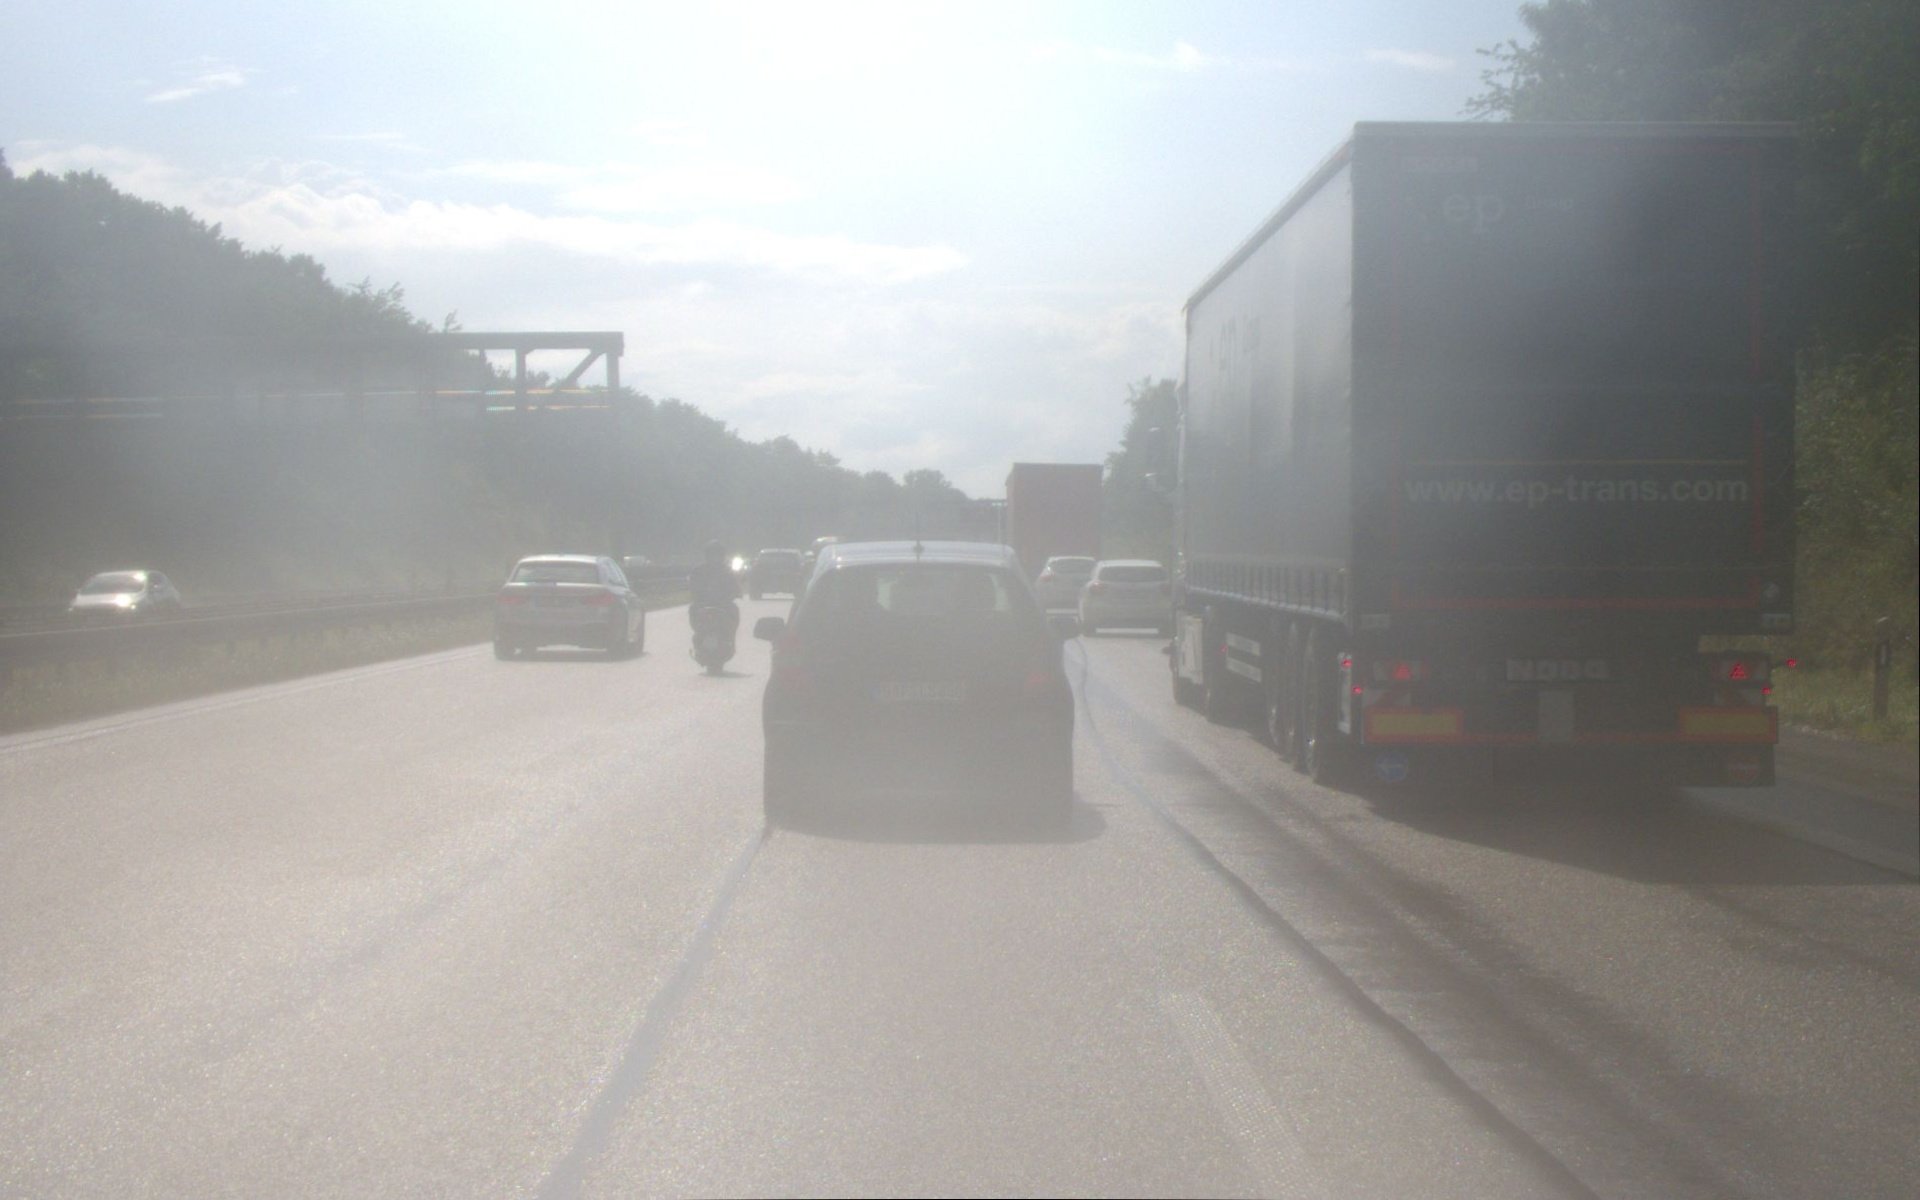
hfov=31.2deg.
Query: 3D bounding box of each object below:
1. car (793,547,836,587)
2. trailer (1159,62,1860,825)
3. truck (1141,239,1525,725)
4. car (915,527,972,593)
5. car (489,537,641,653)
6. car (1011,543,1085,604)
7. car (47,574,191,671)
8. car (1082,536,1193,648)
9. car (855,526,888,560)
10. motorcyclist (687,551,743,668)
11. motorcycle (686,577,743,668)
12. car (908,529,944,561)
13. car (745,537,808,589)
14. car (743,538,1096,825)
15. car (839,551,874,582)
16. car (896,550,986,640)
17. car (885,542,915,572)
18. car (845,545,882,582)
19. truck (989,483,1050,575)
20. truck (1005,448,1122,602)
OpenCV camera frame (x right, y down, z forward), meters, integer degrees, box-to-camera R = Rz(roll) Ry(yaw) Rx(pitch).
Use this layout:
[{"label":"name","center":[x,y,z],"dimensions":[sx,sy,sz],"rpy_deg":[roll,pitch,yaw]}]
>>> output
[{"label":"car","center":[-5.957,-1.372,141.288],"dimensions":[1.675,1.591,3.437],"rpy_deg":[0,1,-1]},{"label":"trailer","center":[3.517,-0.991,26.503],"dimensions":[3.088,4.298,14.105],"rpy_deg":[0,1,0]},{"label":"truck","center":[3.490,-1.096,33.659],"dimensions":[3.052,4.310,5.886],"rpy_deg":[1,1,0]},{"label":"car","center":[-0.517,-1.209,103.789],"dimensions":[1.675,1.929,3.773],"rpy_deg":[0,1,-1]},{"label":"car","center":[-5.660,-0.102,49.702],"dimensions":[1.758,1.589,4.331],"rpy_deg":[0,1,-1]},{"label":"car","center":[2.182,-0.666,85.916],"dimensions":[1.675,1.485,3.437],"rpy_deg":[0,1,-1]},{"label":"car","center":[-18.306,0.461,75.046],"dimensions":[1.993,2.007,4.807],"rpy_deg":[1,1,-1]},{"label":"car","center":[3.301,-0.165,64.561],"dimensions":[1.849,2.007,4.087],"rpy_deg":[1,1,0]},{"label":"car","center":[-5.349,-3.442,208.255],"dimensions":[1.993,2.007,4.000],"rpy_deg":[1,1,-1]},{"label":"motorcyclist","center":[-3.042,0.112,42.740],"dimensions":[0.670,1.437,1.020],"rpy_deg":[1,0,-4]},{"label":"motorcycle","center":[-3.049,0.267,42.792],"dimensions":[0.676,1.083,1.982],"rpy_deg":[1,1,-4]},{"label":"car","center":[-1.590,-2.568,159.995],"dimensions":[1.631,1.485,3.437],"rpy_deg":[0,1,-1]},{"label":"car","center":[-5.930,-1.206,111.457],"dimensions":[1.893,1.622,4.195],"rpy_deg":[0,1,-1]},{"label":"car","center":[-0.255,0.413,20.907],"dimensions":[1.915,1.560,4.314],"rpy_deg":[0,1,-1]},{"label":"car","center":[-5.055,-1.659,167.755],"dimensions":[1.675,1.485,3.437],"rpy_deg":[0,1,-1]},{"label":"car","center":[-0.465,-0.138,79.221],"dimensions":[1.993,2.007,4.000],"rpy_deg":[1,1,-1]},{"label":"car","center":[-4.032,-2.883,231.565],"dimensions":[1.993,2.007,4.000],"rpy_deg":[1,1,-1]},{"label":"car","center":[-5.407,-2.046,192.534],"dimensions":[1.993,2.007,4.000],"rpy_deg":[1,1,-1]},{"label":"truck","center":[3.100,-3.718,182.538],"dimensions":[2.882,4.671,12.659],"rpy_deg":[1,1,-1]},{"label":"truck","center":[3.032,-2.227,103.634],"dimensions":[3.202,4.389,9.432],"rpy_deg":[0,1,0]}]
